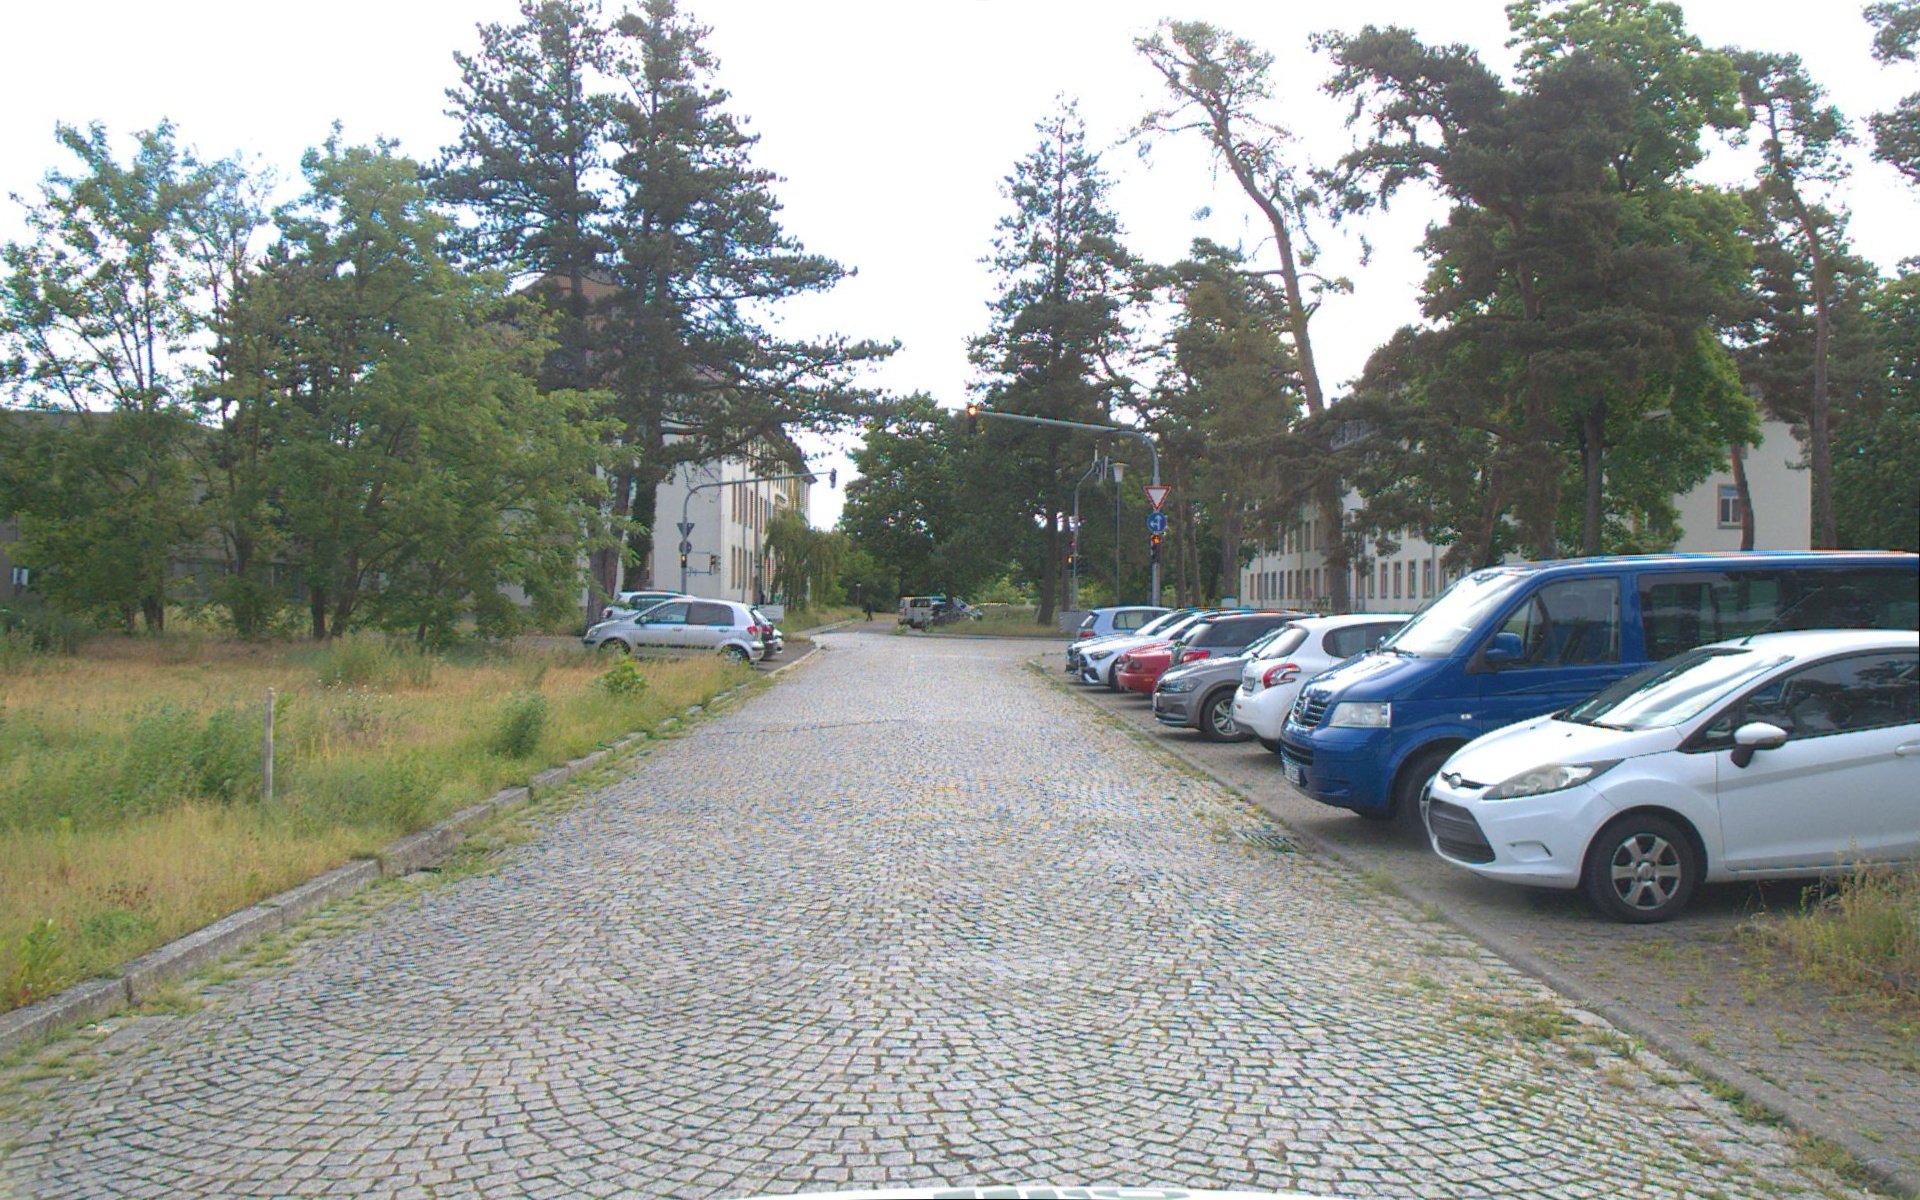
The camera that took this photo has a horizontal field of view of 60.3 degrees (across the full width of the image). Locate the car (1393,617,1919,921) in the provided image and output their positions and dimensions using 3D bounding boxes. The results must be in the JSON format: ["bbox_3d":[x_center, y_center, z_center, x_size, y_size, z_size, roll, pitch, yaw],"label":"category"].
[{"bbox_3d":[4.734,0.873,9.498,4.017,1.504,1.720,0,0,-5],"label":"car"}]

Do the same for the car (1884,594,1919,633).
[{"bbox_3d":[53.740,0.792,90.456,5.193,2.055,2.105,2,-1,-1],"label":"car"}]

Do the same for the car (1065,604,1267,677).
[{"bbox_3d":[4.420,0.844,35.769,4.056,1.489,1.631,0,0,-7],"label":"car"}]

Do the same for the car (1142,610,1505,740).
[{"bbox_3d":[4.360,0.878,20.246,4.046,1.472,1.765,0,0,-1],"label":"car"}]

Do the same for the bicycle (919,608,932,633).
[{"bbox_3d":[-1.731,1.022,83.060,0.649,1.191,1.887,2,0,-1],"label":"bicycle"}]

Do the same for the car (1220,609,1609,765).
[{"bbox_3d":[4.671,0.870,17.351,3.579,1.504,1.765,0,0,-2],"label":"car"}]

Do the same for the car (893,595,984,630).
[{"bbox_3d":[-1.346,0.769,102.516,5.285,2.138,2.171,0,0,-14],"label":"car"}]

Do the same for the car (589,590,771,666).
[{"bbox_3d":[-6.697,0.656,39.881,4.216,1.762,1.650,0,0,-7],"label":"car"}]

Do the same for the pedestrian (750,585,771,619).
[{"bbox_3d":[-12.038,0.101,99.875,1.052,1.993,1.121,2,-1,-2],"label":"pedestrian"}]

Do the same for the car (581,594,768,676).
[{"bbox_3d":[-5.900,0.721,34.503,3.648,1.506,1.671,3,0,-5],"label":"car"}]

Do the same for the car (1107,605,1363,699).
[{"bbox_3d":[4.616,0.848,28.091,4.023,1.502,1.683,0,0,-3],"label":"car"}]

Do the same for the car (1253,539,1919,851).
[{"bbox_3d":[4.688,0.616,12.043,4.700,2.039,1.965,0,0,-4],"label":"car"}]

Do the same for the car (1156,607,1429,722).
[{"bbox_3d":[4.578,0.869,23.121,3.435,1.513,1.742,0,0,-2],"label":"car"}]

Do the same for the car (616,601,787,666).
[{"bbox_3d":[-6.579,0.833,42.338,4.217,1.581,1.809,0,0,-8],"label":"car"}]

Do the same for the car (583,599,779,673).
[{"bbox_3d":[-6.196,0.775,37.091,4.217,1.581,1.809,0,0,-8],"label":"car"}]

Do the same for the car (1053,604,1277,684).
[{"bbox_3d":[4.093,0.858,33.204,4.155,1.505,1.704,0,0,-13],"label":"car"}]

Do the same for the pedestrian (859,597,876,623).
[{"bbox_3d":[-7.379,0.810,132.265,1.216,1.993,1.119,2,-1,-7],"label":"pedestrian"}]

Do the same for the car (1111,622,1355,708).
[{"bbox_3d":[4.188,0.985,25.734,3.513,1.244,1.628,0,0,-1],"label":"car"}]

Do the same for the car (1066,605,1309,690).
[{"bbox_3d":[4.149,0.840,30.439,4.108,1.462,1.752,0,0,-9],"label":"car"}]

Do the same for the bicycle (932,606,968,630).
[{"bbox_3d":[-0.522,0.943,87.735,1.846,1.191,0.664,2,-1,-7],"label":"bicycle"}]
